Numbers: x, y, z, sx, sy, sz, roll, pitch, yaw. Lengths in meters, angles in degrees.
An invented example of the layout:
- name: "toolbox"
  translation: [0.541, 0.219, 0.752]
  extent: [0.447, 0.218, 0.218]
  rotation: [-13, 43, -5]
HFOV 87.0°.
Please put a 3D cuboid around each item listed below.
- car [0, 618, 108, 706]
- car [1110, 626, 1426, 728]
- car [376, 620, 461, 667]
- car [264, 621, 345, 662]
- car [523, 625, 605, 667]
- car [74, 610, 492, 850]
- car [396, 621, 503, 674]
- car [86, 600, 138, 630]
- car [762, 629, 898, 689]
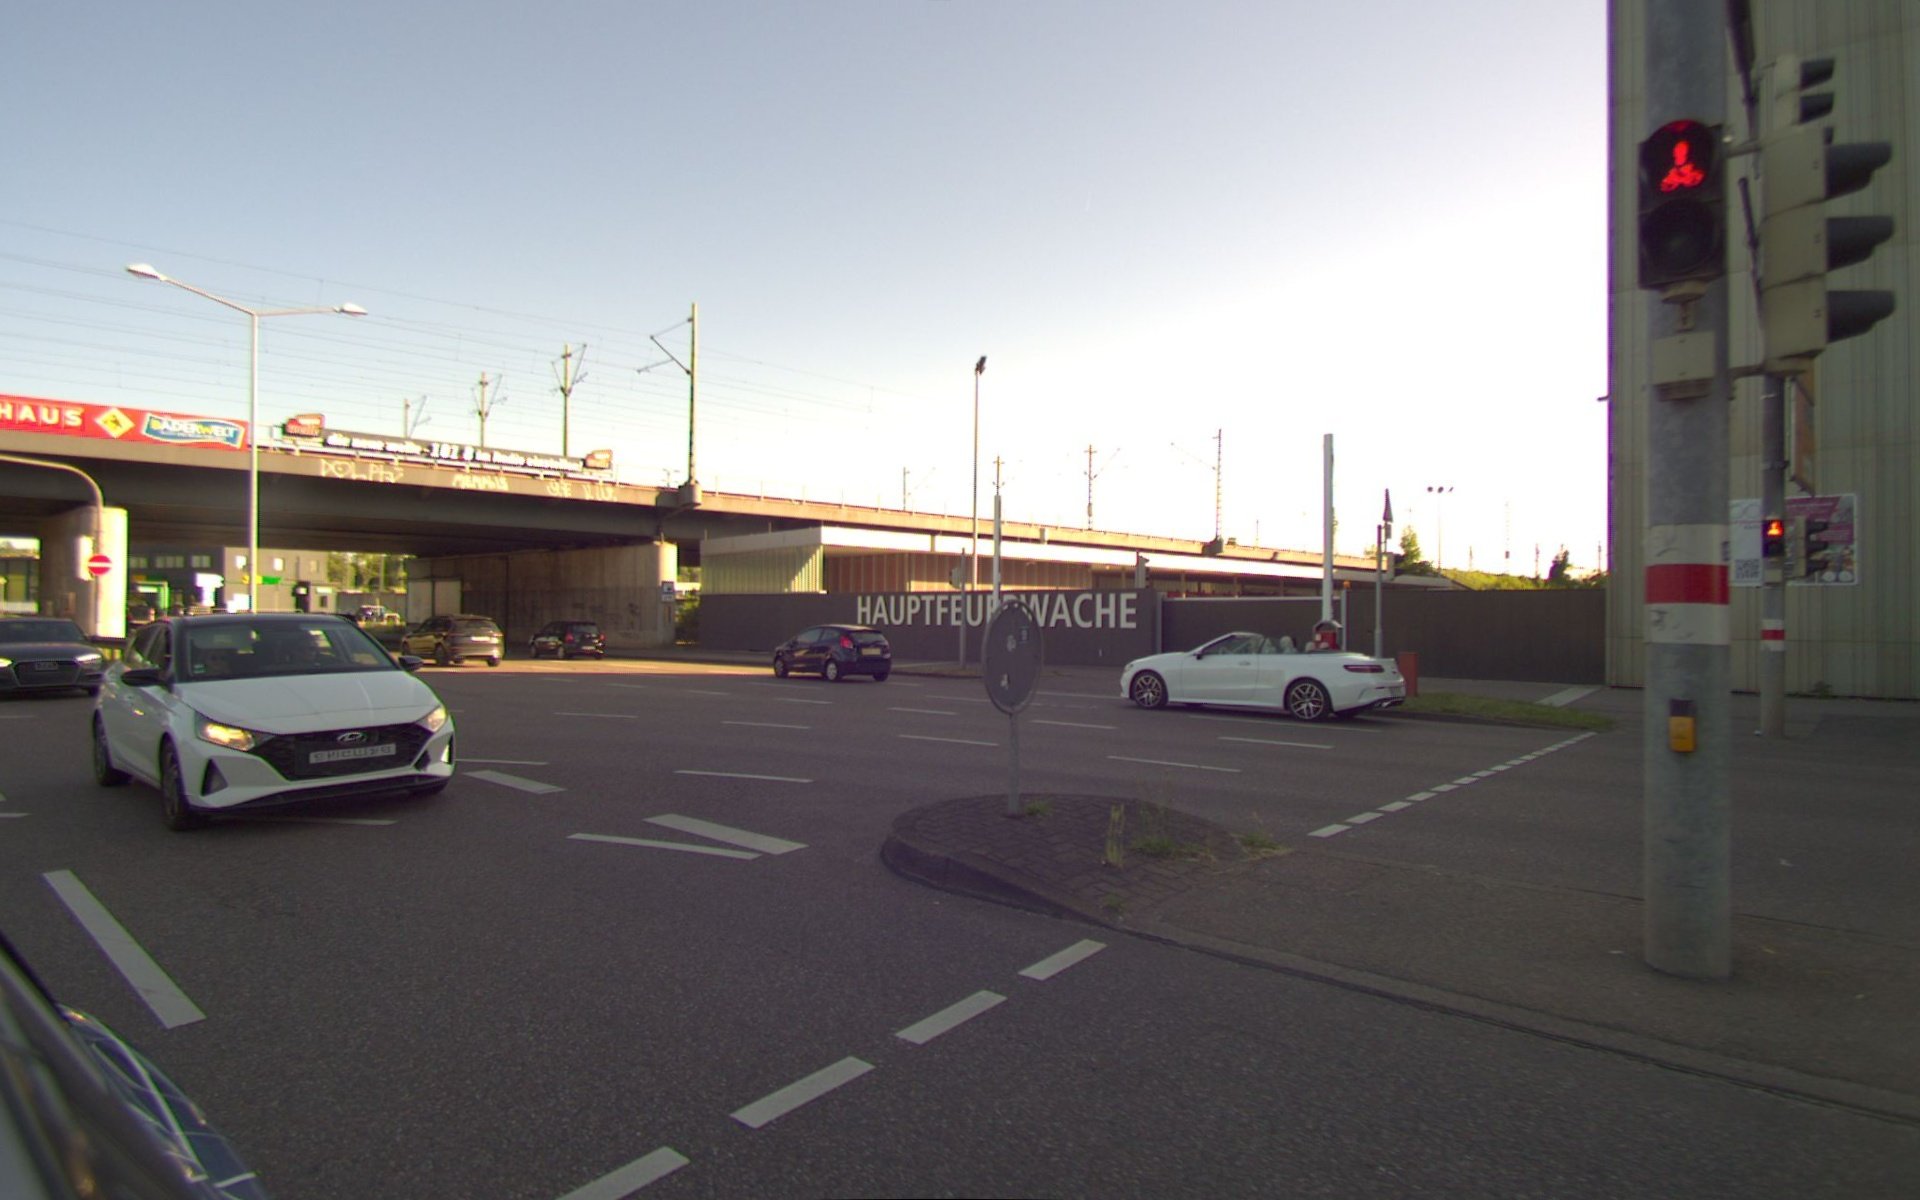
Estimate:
- name: "car"
  translation: [-16.782, 1.031, 18.107]
  extent: [4.363, 1.415, 1.680]
  rotation: [-1, -2, 41]
- name: "car"
  translation: [5.061, 1.206, 17.112]
  extent: [4.879, 1.452, 1.685]
  rotation: [-1, -3, 41]
- name: "car"
  translation: [-21.769, 1.708, 40.613]
  extent: [3.998, 1.753, 1.704]
  rotation: [-1, -2, 41]
- name: "car"
  translation: [-26.802, 1.677, 41.359]
  extent: [3.998, 1.552, 1.704]
  rotation: [-1, -3, 41]
- name: "car"
  translation: [-15.283, 1.728, 38.988]
  extent: [3.425, 1.544, 1.550]
  rotation: [-1, -2, 42]
- name: "car"
  translation: [-5.527, 0.814, 8.055]
  extent: [4.072, 1.419, 1.760]
  rotation: [-1, -1, 41]
- name: "car"
  translation: [-15.935, 1.459, 31.524]
  extent: [3.999, 1.552, 1.610]
  rotation: [-1, -4, 42]
- name: "car"
  translation: [-50.338, 0.840, 60.046]
  extent: [3.998, 1.709, 1.791]
  rotation: [0, 0, 41]
- name: "car"
  translation: [-3.455, 1.489, 26.447]
  extent: [1.472, 1.422, 3.941]
  rotation: [2, -2, -44]
